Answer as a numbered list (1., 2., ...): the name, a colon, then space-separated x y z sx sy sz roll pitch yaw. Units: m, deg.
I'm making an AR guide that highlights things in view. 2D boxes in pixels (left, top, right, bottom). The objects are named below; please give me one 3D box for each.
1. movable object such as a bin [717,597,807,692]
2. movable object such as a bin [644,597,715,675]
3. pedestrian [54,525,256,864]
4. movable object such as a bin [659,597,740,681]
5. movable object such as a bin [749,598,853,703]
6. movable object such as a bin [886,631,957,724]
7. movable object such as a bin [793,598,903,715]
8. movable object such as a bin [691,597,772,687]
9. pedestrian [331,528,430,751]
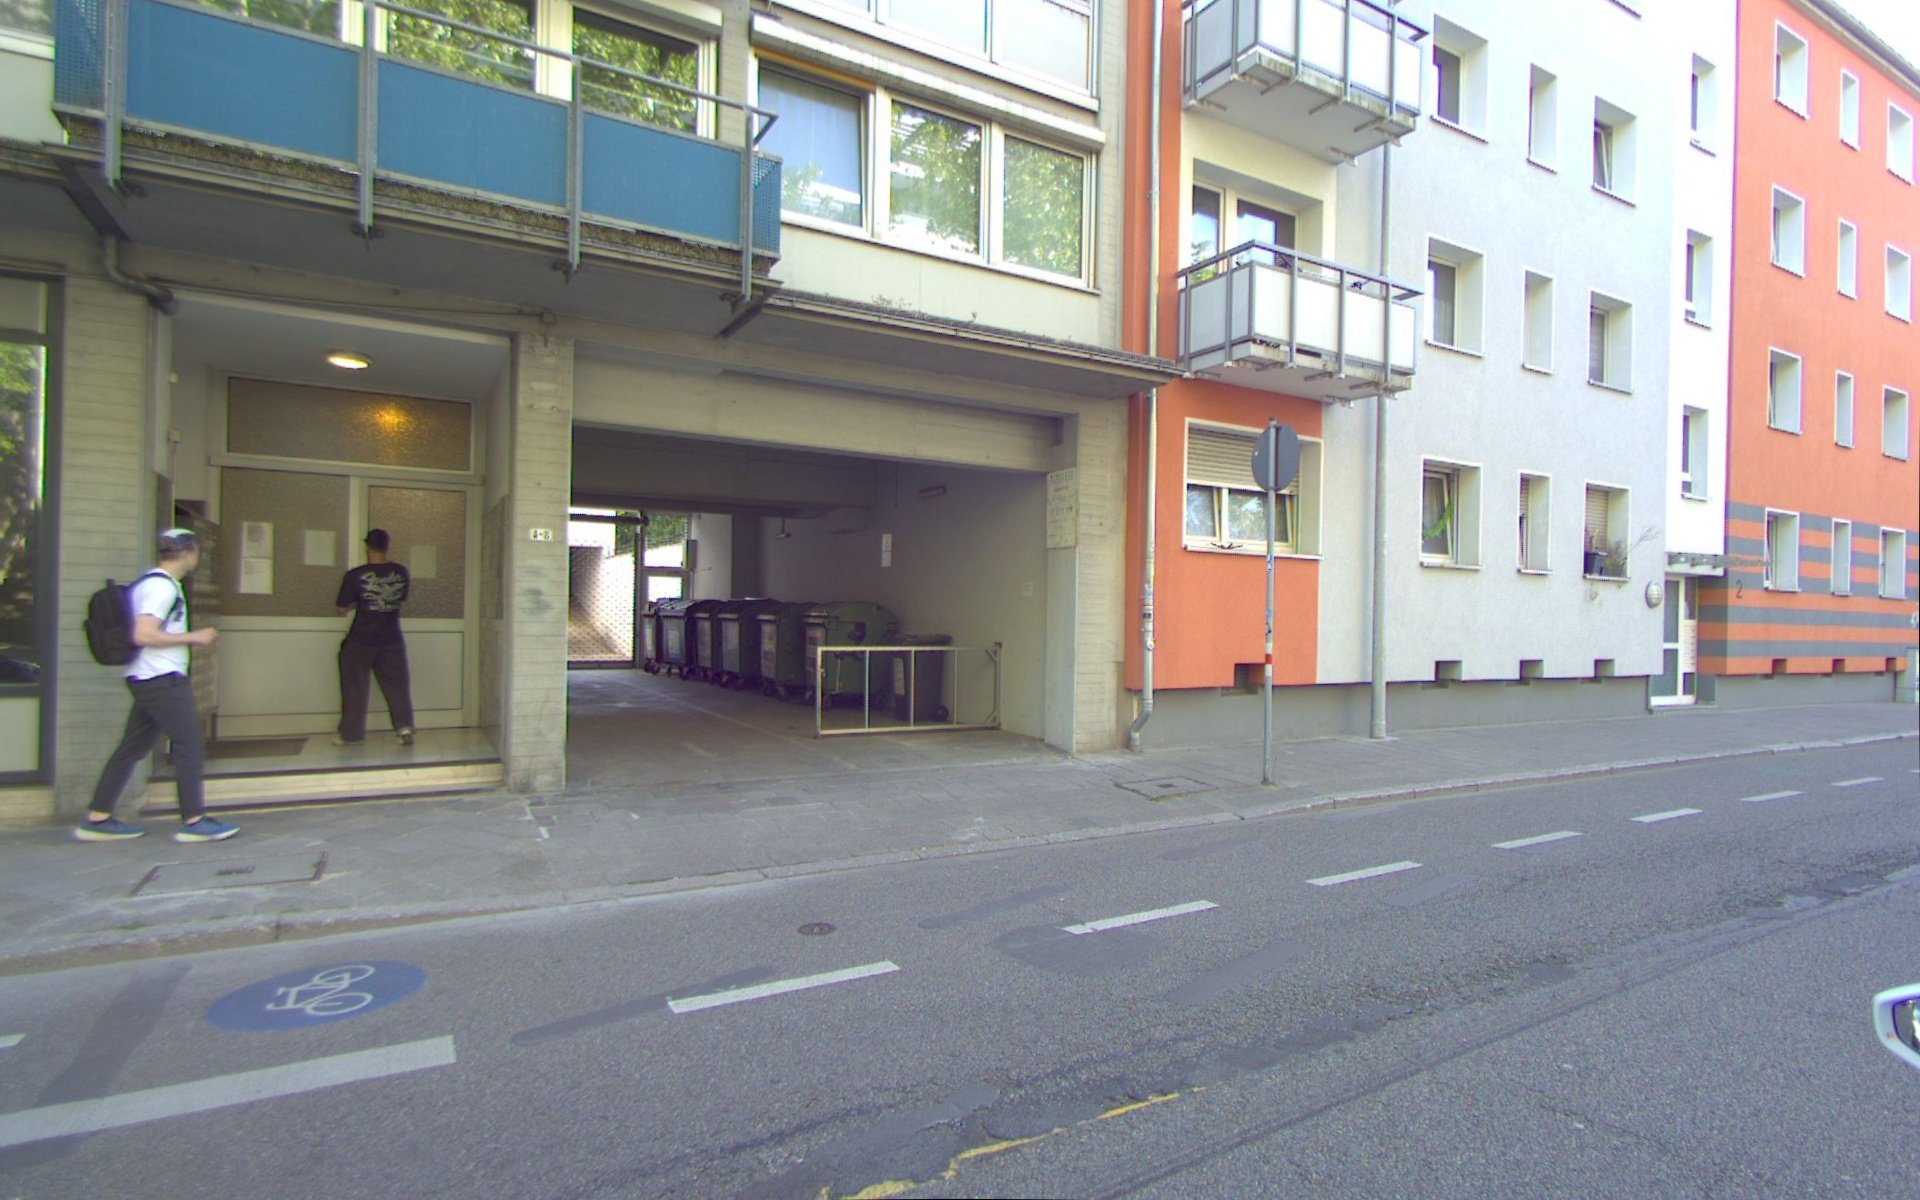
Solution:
1. movable object such as a bin: -3.286 0.723 16.650 1.167 1.503 1.073 1 0 -30
2. movable object such as a bin: -5.568 0.704 19.935 1.167 1.503 0.819 1 0 -30
3. pedestrian: -4.720 0.505 5.898 0.873 1.824 0.593 1 2 -43
4. movable object such as a bin: -4.845 0.709 18.679 1.167 1.503 1.215 1 0 -30
5. movable object such as a bin: -2.405 0.731 15.154 1.167 1.503 1.252 1 0 -30
6. movable object such as a bin: -0.478 0.941 12.472 0.687 1.094 0.579 1 0 -30
7. movable object such as a bin: -1.549 0.740 13.781 1.086 1.503 1.251 1 0 -30
8. movable object such as a bin: -4.021 0.721 17.647 1.080 1.503 1.159 1 0 -30
9. pedestrian: -4.758 0.313 8.240 0.654 1.736 0.543 1 0 -33
